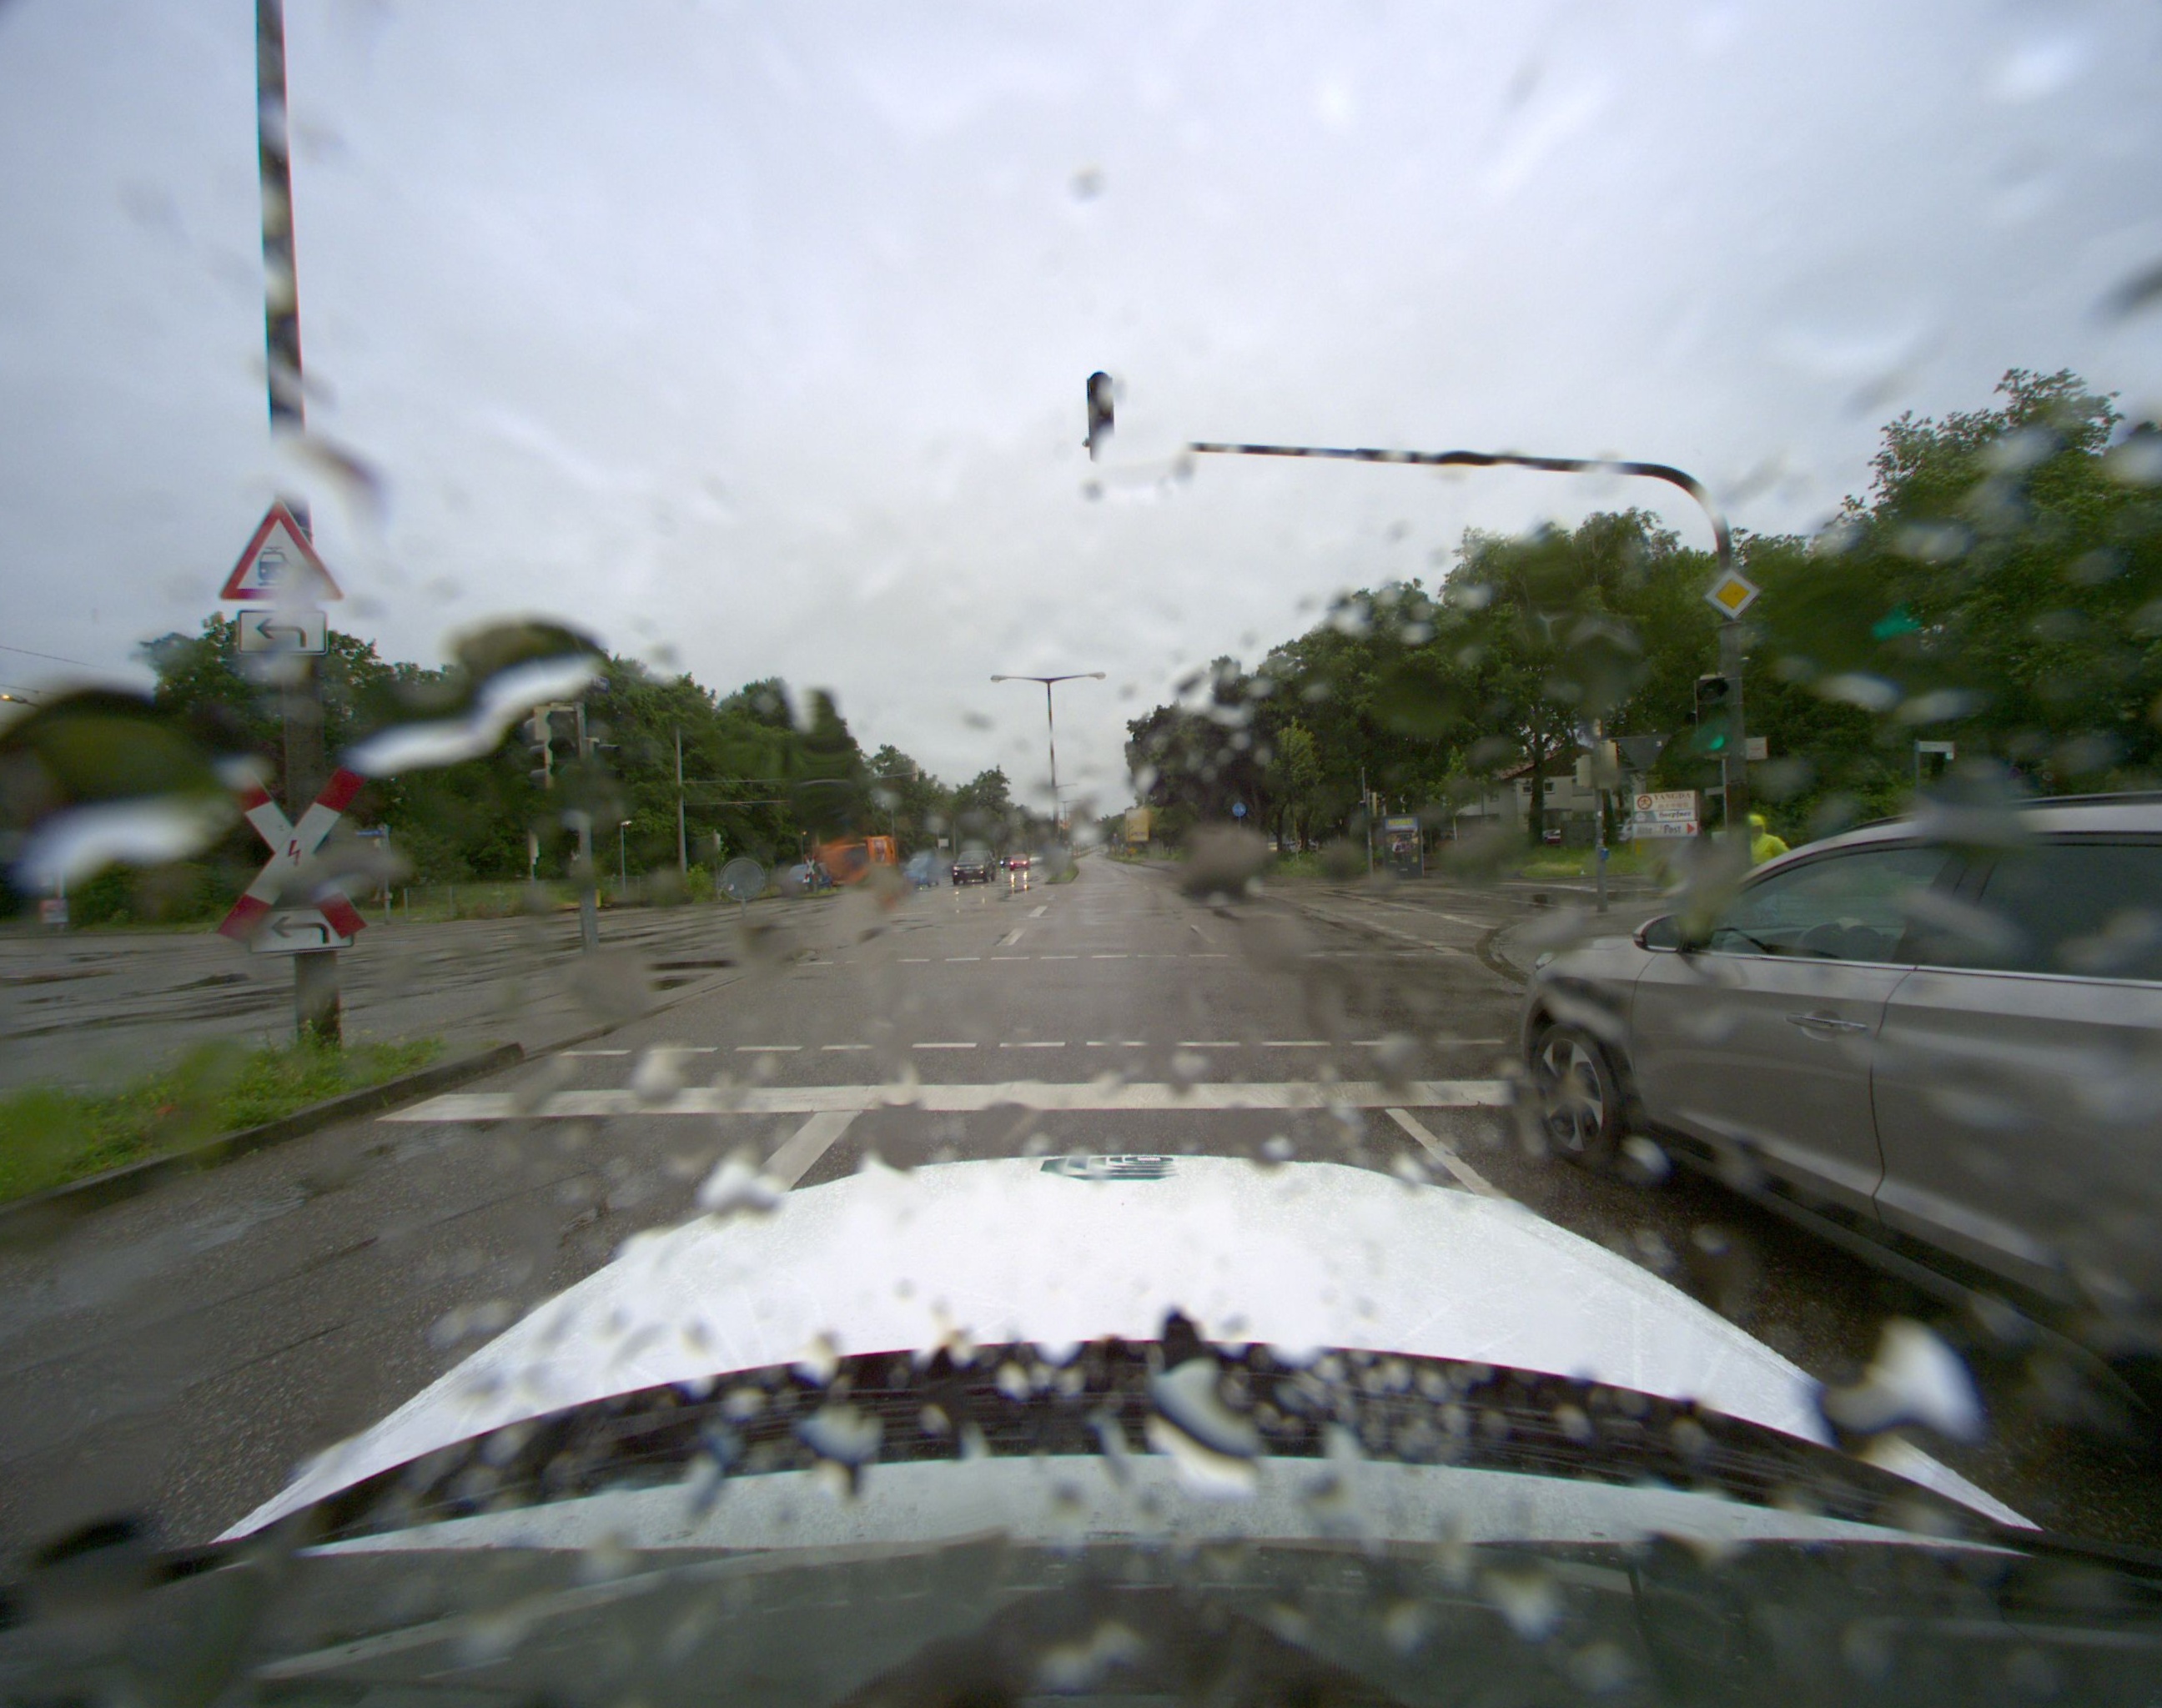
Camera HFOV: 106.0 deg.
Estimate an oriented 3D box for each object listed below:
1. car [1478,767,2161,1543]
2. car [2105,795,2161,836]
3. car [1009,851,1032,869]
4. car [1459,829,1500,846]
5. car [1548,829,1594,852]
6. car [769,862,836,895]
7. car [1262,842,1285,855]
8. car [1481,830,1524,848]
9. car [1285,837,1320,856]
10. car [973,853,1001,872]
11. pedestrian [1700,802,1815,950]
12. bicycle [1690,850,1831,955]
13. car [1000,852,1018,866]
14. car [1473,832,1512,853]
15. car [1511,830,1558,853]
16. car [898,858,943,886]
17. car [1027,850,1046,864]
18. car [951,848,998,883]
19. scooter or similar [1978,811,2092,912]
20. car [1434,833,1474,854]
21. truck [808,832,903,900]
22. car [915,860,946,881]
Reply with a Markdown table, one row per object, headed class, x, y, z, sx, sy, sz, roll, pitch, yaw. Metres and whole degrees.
| class | x | y | z | sx | sy | sz | roll | pitch | yaw |
| --- | --- | --- | --- | --- | --- | --- | --- | --- | --- |
| car | 3.175 | 0.609 | 2.499 | 1.878 | 1.610 | 4.195 | -2 | -1 | 1 |
| car | 45.169 | -1.563 | 33.356 | 4.582 | 1.583 | 1.921 | -1 | 0 | -7 |
| car | -5.783 | 0.550 | 78.092 | 1.795 | 1.569 | 4.428 | -4 | -1 | 0 |
| car | 34.188 | -1.368 | 69.930 | 1.568 | 1.316 | 3.699 | -1 | 0 | -2 |
| car | 32.448 | -0.847 | 53.902 | 3.772 | 1.449 | 1.584 | 0 | -1 | -42 |
| car | -15.365 | 1.294 | 45.164 | 1.986 | 1.709 | 4.529 | -1 | 0 | 2 |
| car | 22.125 | -0.597 | 93.670 | 1.632 | 1.486 | 4.071 | -1 | 0 | -1 |
| car | 36.281 | -1.267 | 70.125 | 1.579 | 1.385 | 3.998 | -1 | 0 | -1 |
| car | 21.725 | -0.696 | 80.158 | 1.988 | 1.717 | 4.876 | -3 | 0 | -1 |
| car | -8.771 | 0.745 | 76.274 | 1.887 | 1.611 | 4.502 | -2 | 0 | 2 |
| pedestrian | 8.232 | 0.264 | 9.918 | 0.672 | 1.678 | 0.781 | -6 | 0 | -32 |
| bicycle | 8.318 | 0.567 | 9.954 | 1.671 | 1.038 | 0.781 | -6 | 0 | -33 |
| car | -9.336 | 0.667 | 105.403 | 1.700 | 1.641 | 4.332 | -4 | 0 | 2 |
| car | 29.146 | -0.787 | 57.667 | 1.648 | 1.449 | 3.776 | -1 | -1 | 40 |
| car | 30.866 | -0.820 | 55.393 | 3.772 | 1.449 | 1.650 | 0 | -1 | -42 |
| car | -8.962 | 0.980 | 45.745 | 1.636 | 1.427 | 3.998 | -4 | 0 | -1 |
| car | -5.716 | 0.351 | 104.468 | 1.954 | 1.617 | 4.698 | -3 | 0 | 1 |
| car | -6.015 | 0.605 | 46.594 | 1.799 | 1.773 | 5.090 | -4 | 0 | 1 |
| scooter or similar | 12.181 | 0.098 | 10.408 | 0.952 | 1.229 | 0.322 | -3 | 0 | 6 |
| car | 26.979 | -0.756 | 58.871 | 1.648 | 1.449 | 3.776 | -1 | -1 | 40 |
| truck | -15.020 | 0.777 | 55.438 | 3.373 | 4.167 | 10.408 | -1 | 0 | 1 |
| car | -13.775 | 1.525 | 74.737 | 1.987 | 1.827 | 4.770 | -1 | 0 | -1 |
